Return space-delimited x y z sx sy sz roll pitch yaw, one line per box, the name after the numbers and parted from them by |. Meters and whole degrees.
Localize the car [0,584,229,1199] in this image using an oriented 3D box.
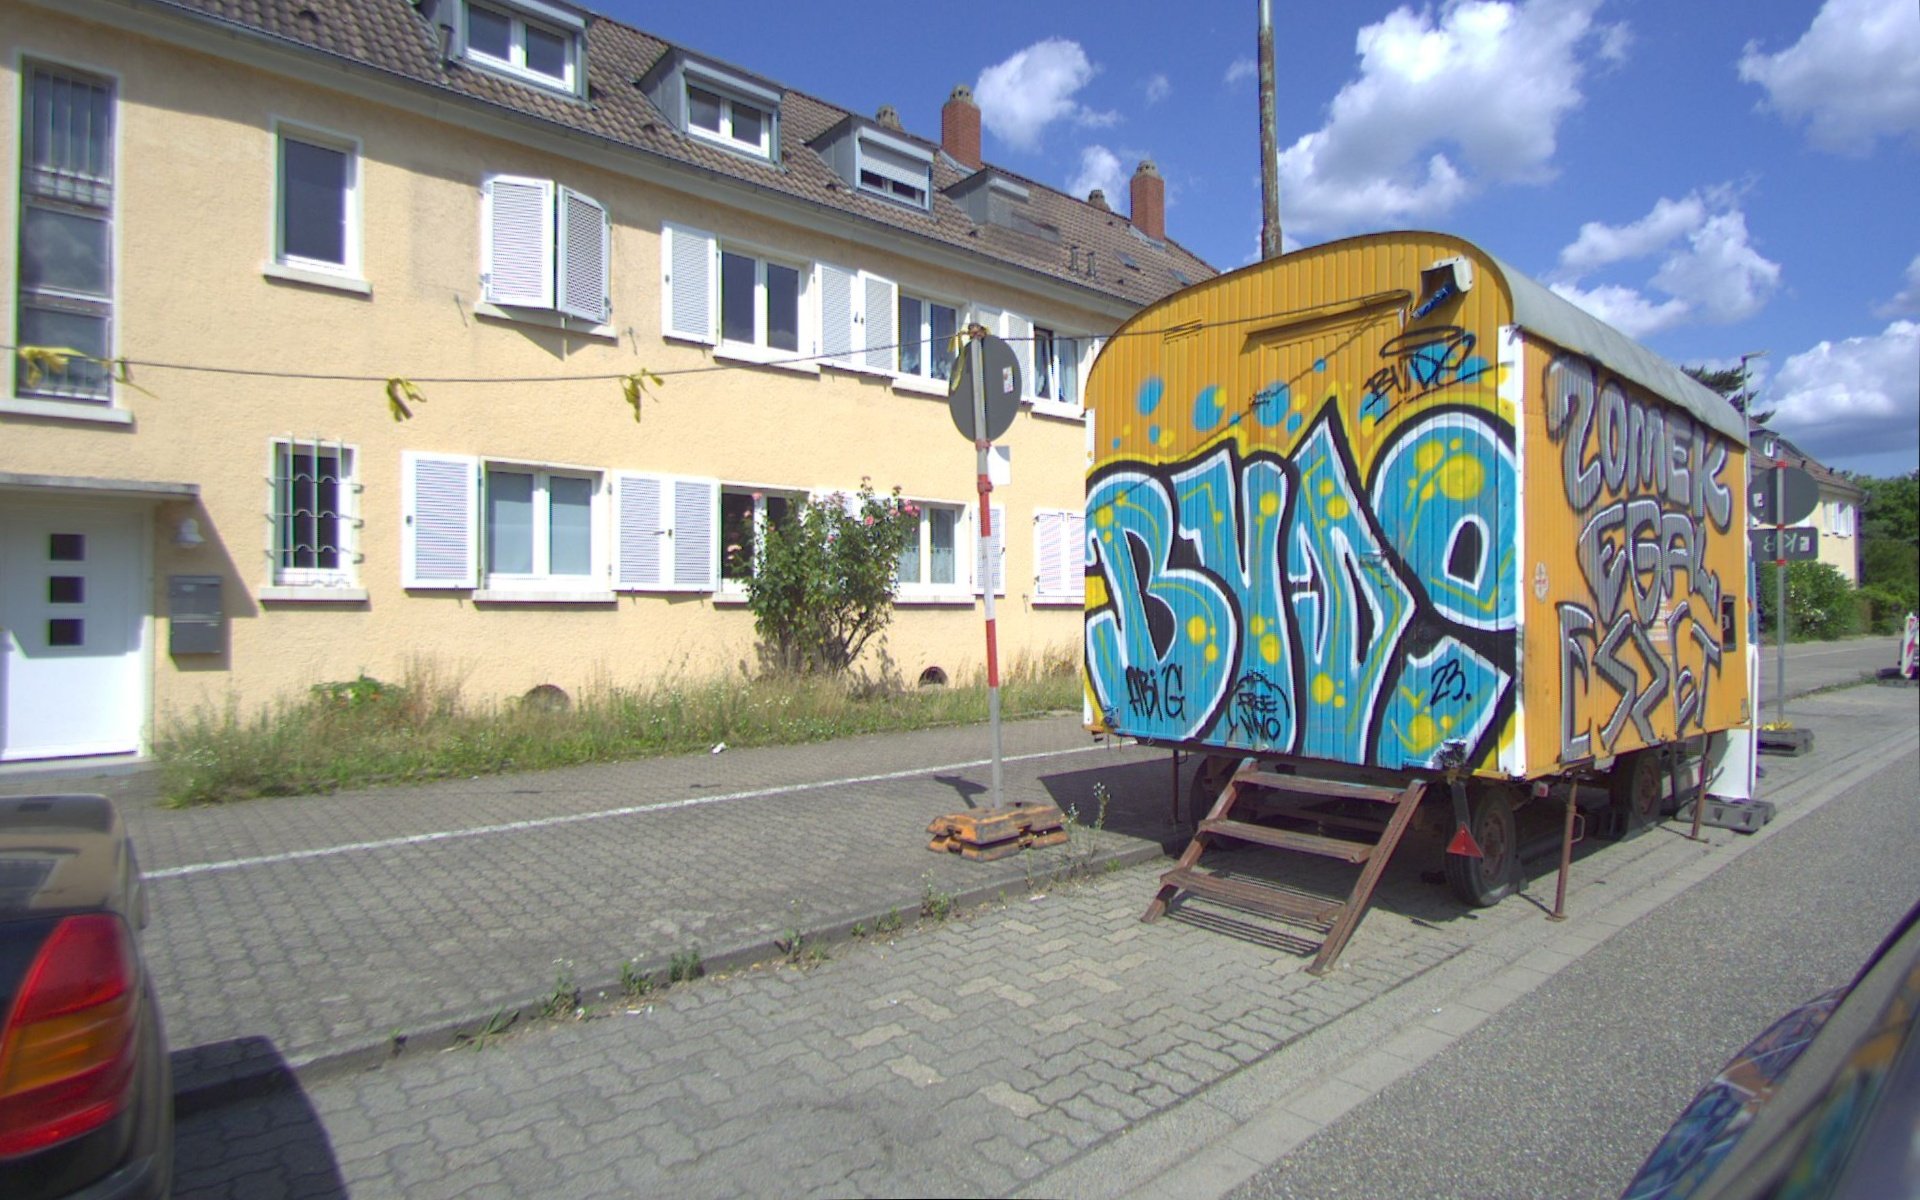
-3.216 0.718 0.594 4.377 1.468 1.579 0 -1 -43 | car

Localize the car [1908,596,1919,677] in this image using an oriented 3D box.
19.839 0.678 19.675 4.034 1.521 1.466 0 0 -38 | car

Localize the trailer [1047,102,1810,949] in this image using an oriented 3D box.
3.271 -0.279 6.578 4.993 3.268 2.694 0 -1 -41 | trailer
